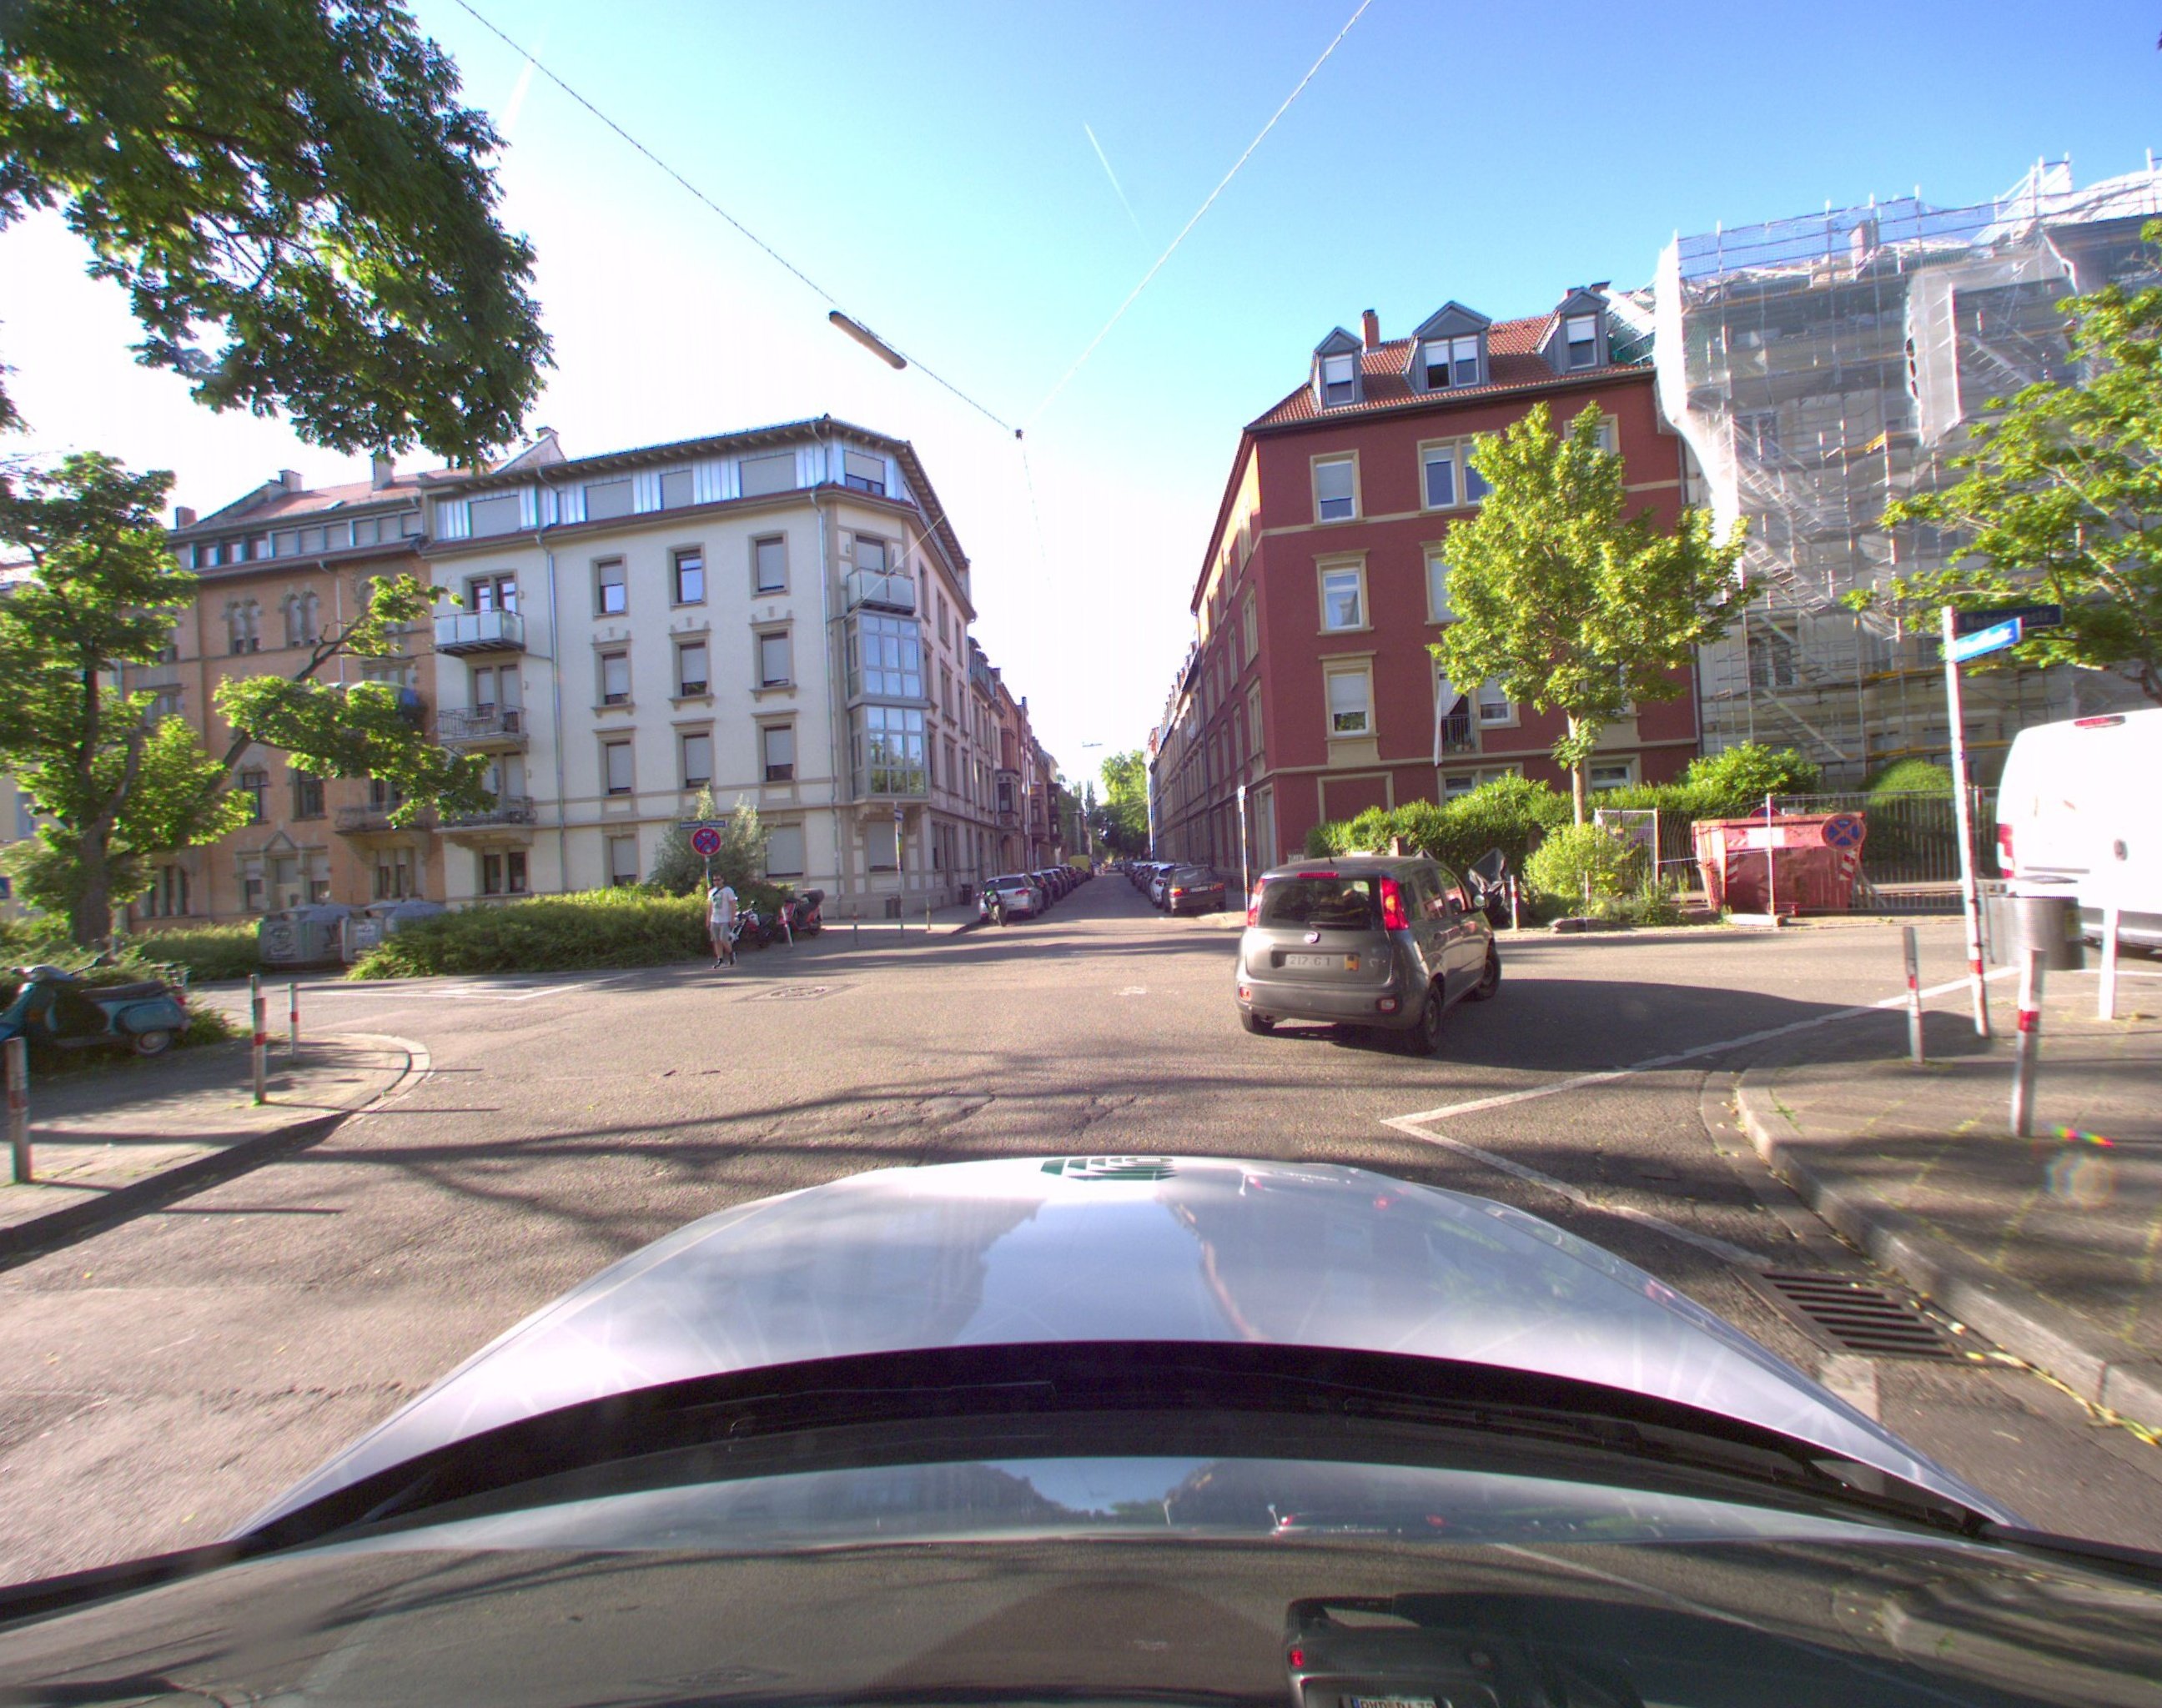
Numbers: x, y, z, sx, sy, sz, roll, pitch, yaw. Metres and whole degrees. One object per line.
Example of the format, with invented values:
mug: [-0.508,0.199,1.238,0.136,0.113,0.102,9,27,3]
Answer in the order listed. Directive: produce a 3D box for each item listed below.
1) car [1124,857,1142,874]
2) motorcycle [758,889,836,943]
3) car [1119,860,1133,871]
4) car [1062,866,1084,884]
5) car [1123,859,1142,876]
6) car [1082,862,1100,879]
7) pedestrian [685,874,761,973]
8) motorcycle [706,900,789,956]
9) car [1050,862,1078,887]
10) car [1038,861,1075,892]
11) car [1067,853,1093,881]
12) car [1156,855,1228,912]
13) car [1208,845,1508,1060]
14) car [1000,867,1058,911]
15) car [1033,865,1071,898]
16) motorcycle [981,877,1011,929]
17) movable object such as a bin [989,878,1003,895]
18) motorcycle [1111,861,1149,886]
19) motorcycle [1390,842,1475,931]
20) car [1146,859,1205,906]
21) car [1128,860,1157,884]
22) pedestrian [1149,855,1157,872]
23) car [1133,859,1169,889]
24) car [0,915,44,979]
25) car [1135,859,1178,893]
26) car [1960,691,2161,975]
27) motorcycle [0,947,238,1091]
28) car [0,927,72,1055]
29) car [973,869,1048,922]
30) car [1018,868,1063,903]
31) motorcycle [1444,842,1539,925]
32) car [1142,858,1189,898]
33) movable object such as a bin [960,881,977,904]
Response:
car: [5.944,1.271,93.292,1.747,1.786,4.725,-6,0,2]
motorcycle: [-7.138,1.543,20.599,0.606,1.196,2.055,-4,-2,21]
car: [7.020,1.804,127.388,1.718,1.522,3.999,-4,-1,-1]
car: [-0.680,1.770,68.609,1.612,1.326,3.613,-6,-1,1]
car: [5.551,1.444,87.858,1.746,1.452,4.292,-8,0,4]
car: [1.147,1.926,94.665,1.813,1.766,4.333,-3,-1,-1]
pedestrian: [-6.753,1.284,15.404,0.798,1.746,1.008,-4,-1,8]
motorcycle: [-7.466,1.643,18.352,0.634,1.090,1.878,-4,-2,17]
car: [-1.147,1.404,57.791,1.775,1.606,4.069,-3,-1,1]
car: [-1.412,1.307,48.187,1.754,1.617,4.192,-3,-1,3]
car: [-0.071,1.257,80.008,2.167,2.507,5.880,-6,-1,2]
car: [3.239,0.828,24.349,1.662,1.483,3.707,-3,-1,1]
car: [2.816,0.735,7.762,1.618,1.483,3.555,-4,-1,37]
car: [-1.954,1.318,31.580,1.774,1.483,3.745,-3,-1,3]
car: [-1.507,1.418,42.999,1.637,1.455,3.840,-6,-1,1]
motorcycle: [-2.438,1.379,23.524,0.675,1.334,1.997,-6,0,-4]
movable object such as a bin: [-4.638,1.762,44.317,0.610,0.920,0.734,-3,-1,2]
motorcycle: [3.136,1.234,52.141,2.229,1.536,0.883,-1,-1,-24]
motorcycle: [6.736,0.566,15.767,0.866,1.525,2.630,-4,0,10]
car: [3.275,0.946,28.870,1.699,1.462,3.972,-3,-1,2]
car: [4.135,1.192,55.091,1.770,1.397,4.320,-3,0,3]
pedestrian: [7.100,0.924,80.434,0.650,1.630,0.882,-5,-2,6]
car: [3.798,1.054,44.755,1.755,1.484,4.404,-4,0,3]
car: [-36.652,3.152,25.376,1.980,2.013,4.926,-4,-1,12]
car: [3.627,1.021,39.923,1.653,1.479,4.024,-4,0,0]
car: [12.281,-0.361,7.301,5.609,2.468,2.313,-4,-1,11]
motorcycle: [-9.965,1.621,8.285,0.539,1.102,1.901,-4,-1,11]
car: [-15.917,1.906,10.436,4.107,1.575,1.890,-4,-1,9]
car: [-2.231,1.302,26.810,1.773,1.483,3.937,-3,-1,4]
car: [-1.847,1.410,37.829,1.775,1.403,3.743,-3,-1,1]
motorcycle: [7.753,0.529,15.528,0.863,1.404,2.550,-4,-1,10]
car: [3.488,0.960,34.271,1.670,1.503,4.071,-3,0,3]
movable object such as a bin: [-4.822,1.644,34.854,0.619,0.956,0.511,-2,-1,2]
